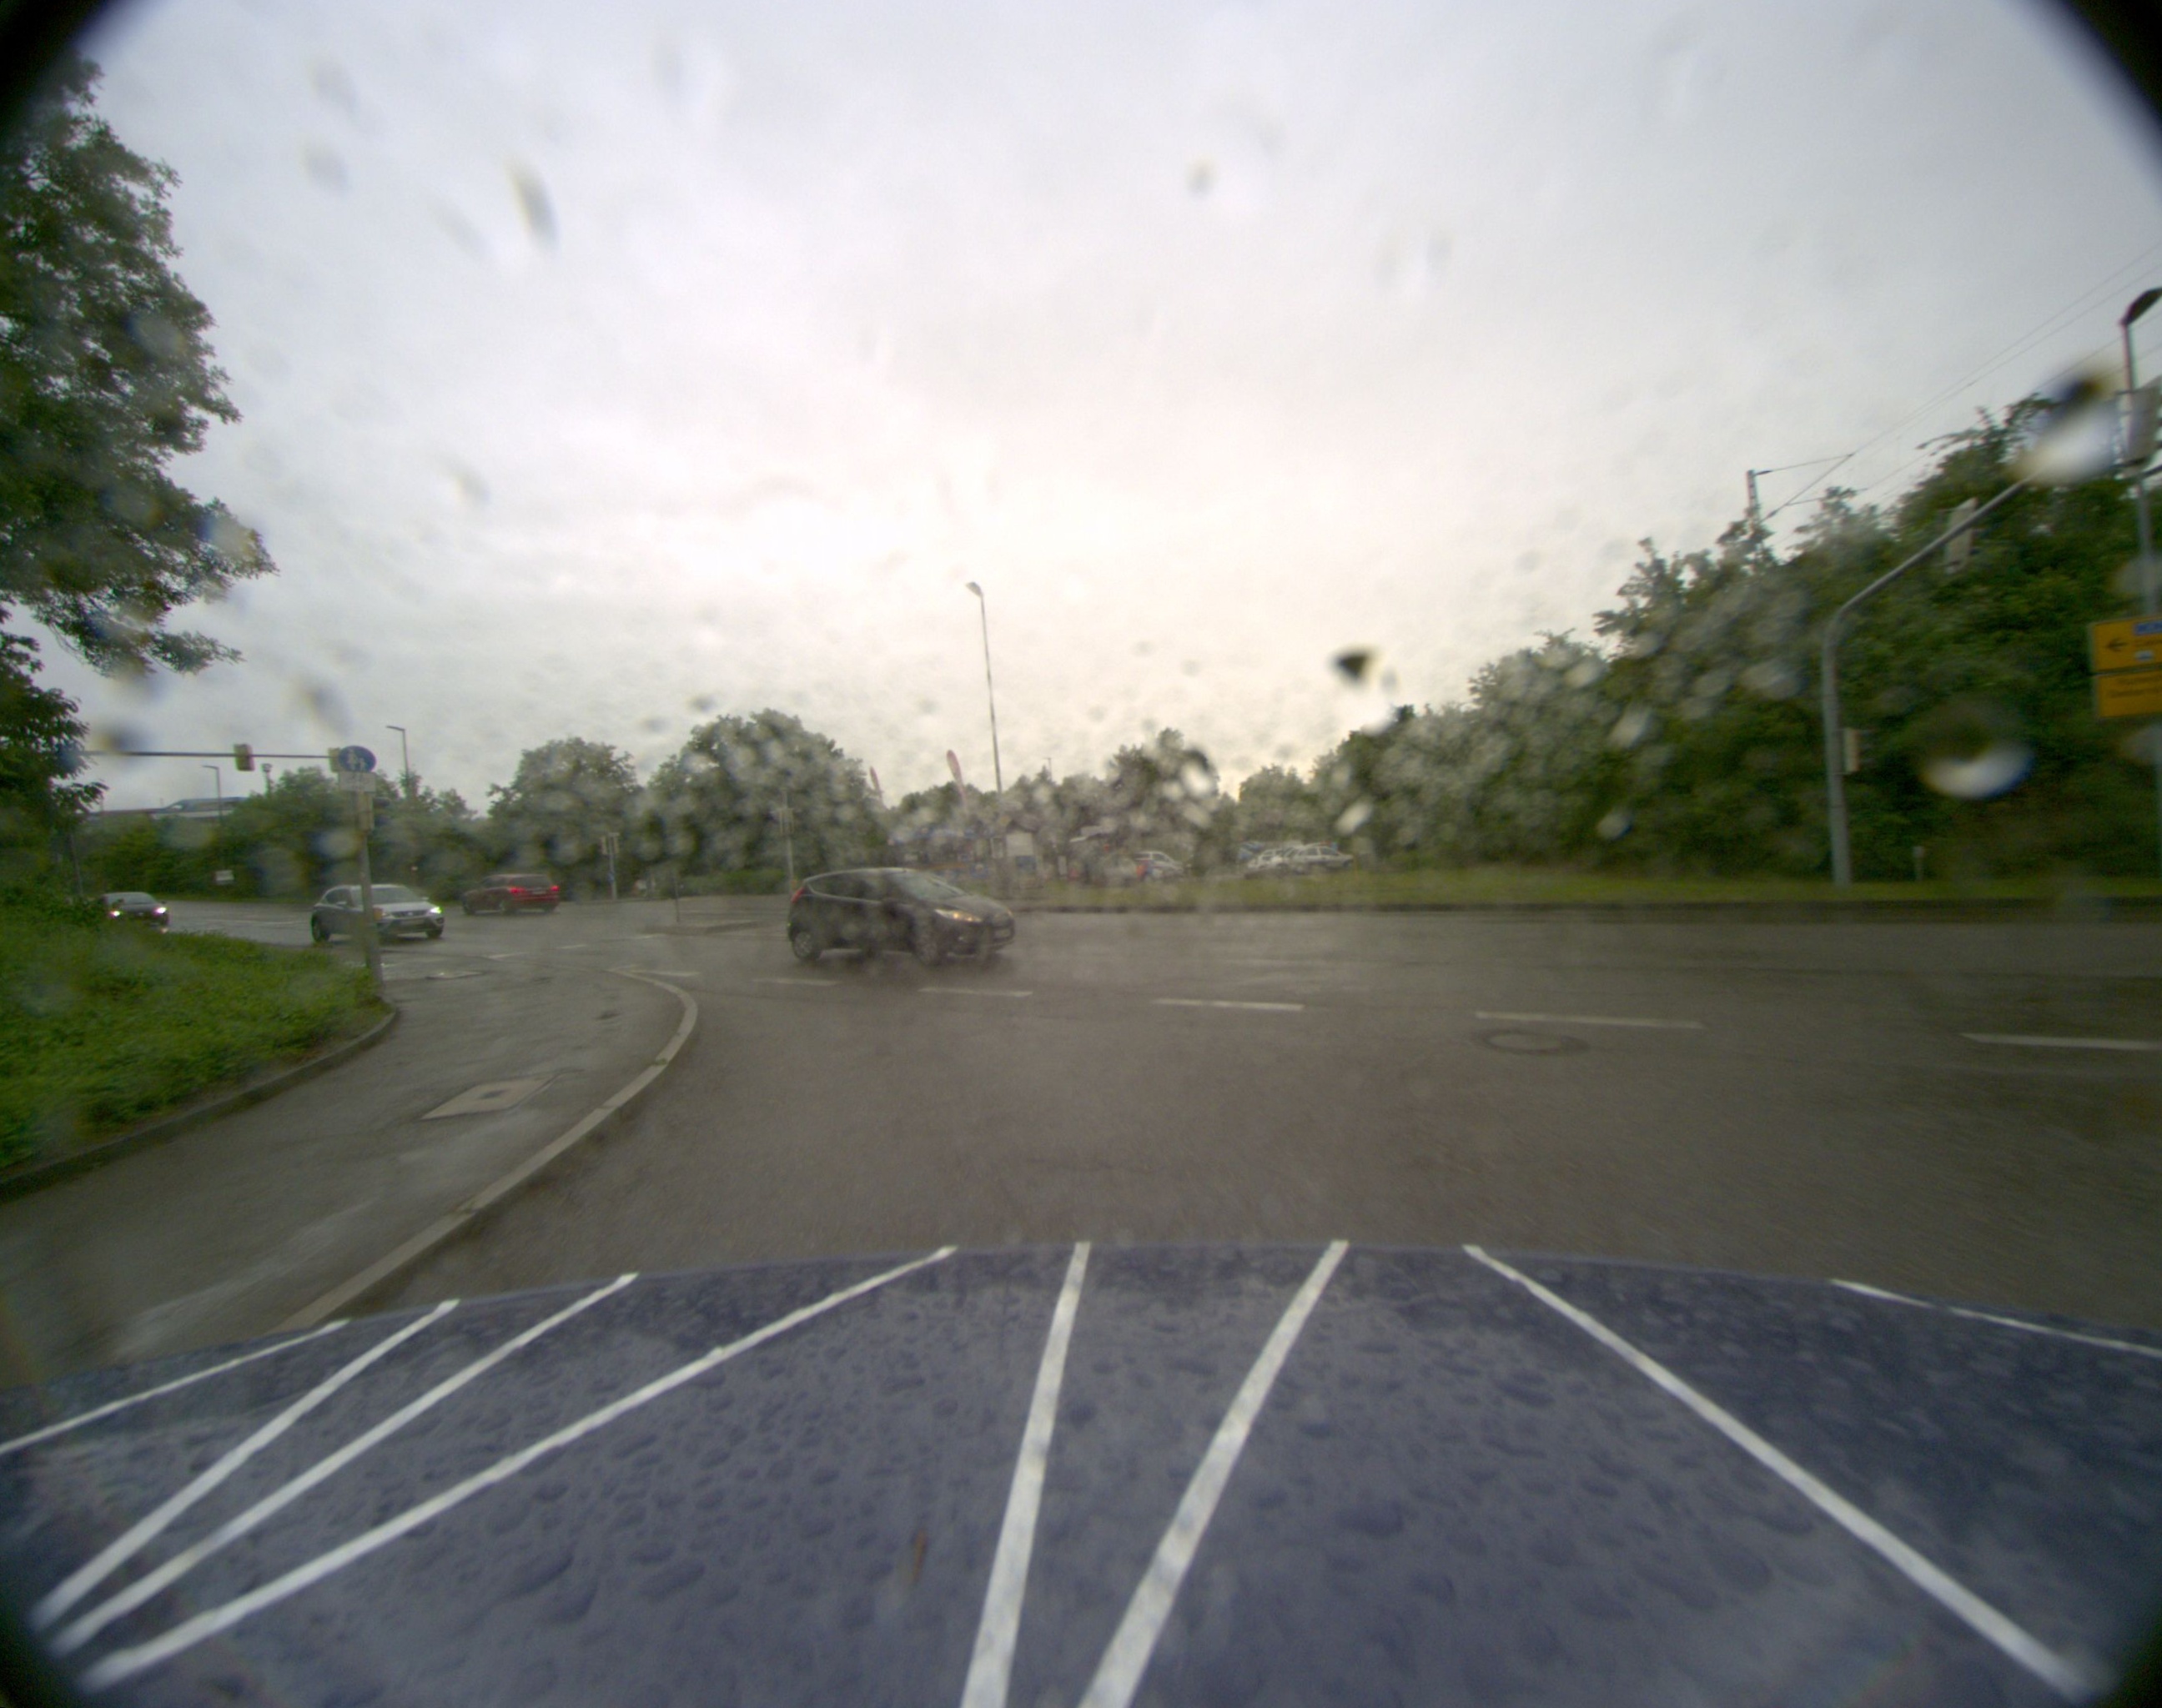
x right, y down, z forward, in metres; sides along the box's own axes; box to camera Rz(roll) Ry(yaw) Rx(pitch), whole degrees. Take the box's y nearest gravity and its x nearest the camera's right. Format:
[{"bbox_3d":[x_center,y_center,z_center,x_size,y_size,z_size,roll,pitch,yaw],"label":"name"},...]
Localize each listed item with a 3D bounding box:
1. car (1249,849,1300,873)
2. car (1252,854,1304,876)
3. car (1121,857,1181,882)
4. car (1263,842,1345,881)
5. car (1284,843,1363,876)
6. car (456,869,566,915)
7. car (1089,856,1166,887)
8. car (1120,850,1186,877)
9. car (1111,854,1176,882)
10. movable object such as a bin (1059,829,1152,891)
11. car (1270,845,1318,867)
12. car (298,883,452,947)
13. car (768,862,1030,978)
[{"bbox_3d":[16.275,0.591,64.038,3.957,1.868,1.695,-2,0,10],"label":"car"},{"bbox_3d":[15.933,0.901,61.617,3.876,1.619,1.695,-2,0,10],"label":"car"},{"bbox_3d":[4.539,0.985,49.221,3.621,1.502,1.594,-2,0,15],"label":"car"},{"bbox_3d":[12.352,0.409,42.321,4.228,1.968,1.906,-2,0,14],"label":"car"},{"bbox_3d":[12.675,0.290,39.935,3.818,1.559,1.776,-2,0,14],"label":"car"},{"bbox_3d":[-23.541,1.556,31.344,4.670,1.704,1.907,-2,0,30],"label":"car"},{"bbox_3d":[2.600,0.978,42.139,3.993,1.565,1.672,-2,0,14],"label":"car"},{"bbox_3d":[5.146,0.658,54.173,4.381,1.755,1.924,-2,0,15],"label":"car"},{"bbox_3d":[3.870,0.876,46.866,3.704,1.565,1.594,-2,0,15],"label":"car"},{"bbox_3d":[1.047,0.352,36.654,2.313,2.670,5.694,-2,-1,-21],"label":"movable object such as a bin"},{"bbox_3d":[16.412,0.132,58.689,3.474,1.531,1.449,-2,0,12],"label":"car"},{"bbox_3d":[-19.185,1.622,20.634,4.143,1.498,1.686,-2,0,27],"label":"car"},{"bbox_3d":[-2.937,0.990,12.174,3.878,1.561,1.686,-2,0,28],"label":"car"}]
